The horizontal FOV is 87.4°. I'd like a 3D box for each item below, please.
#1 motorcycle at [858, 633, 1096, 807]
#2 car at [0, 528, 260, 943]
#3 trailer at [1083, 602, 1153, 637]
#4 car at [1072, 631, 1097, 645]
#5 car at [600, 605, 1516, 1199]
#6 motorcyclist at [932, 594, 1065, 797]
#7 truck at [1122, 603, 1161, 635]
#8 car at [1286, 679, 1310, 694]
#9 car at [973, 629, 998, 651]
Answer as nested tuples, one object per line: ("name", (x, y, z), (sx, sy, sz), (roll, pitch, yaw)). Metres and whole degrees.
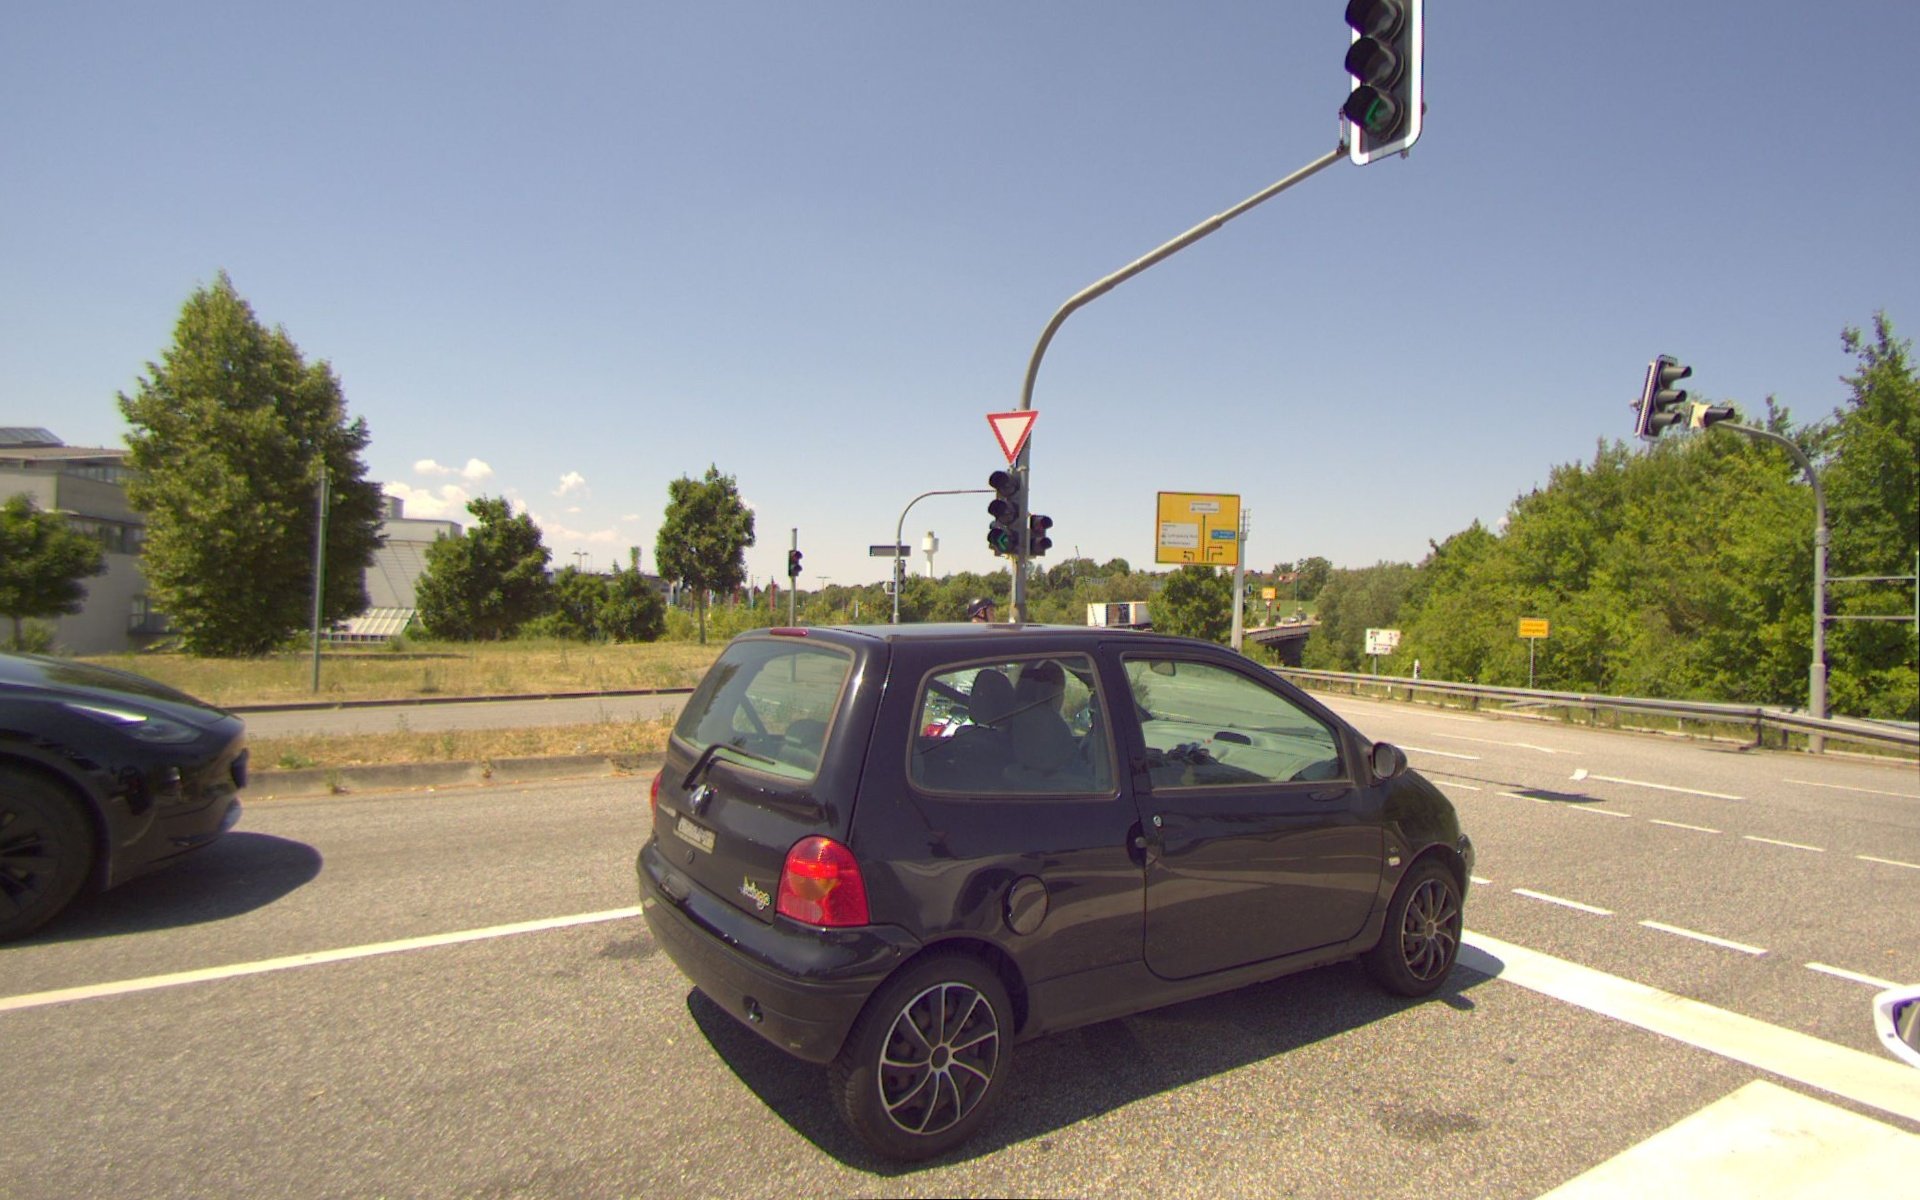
("motorcycle", (0.177, 0.939, 8.169), (1.921, 1.255, 0.572), (3, -1, -35))
("car", (-5.423, 0.479, 3.846), (4.462, 1.622, 1.862), (2, 0, -36))
("trailer", (21.149, 2.502, 133.101), (3.186, 4.305, 15.366), (2, 0, 33))
("car", (14.503, 4.437, 116.626), (1.777, 1.452, 3.927), (4, -2, 24))
("car", (0.500, 0.786, 3.901), (3.267, 1.426, 1.609), (2, -1, -34))
("motorcyclist", (0.315, 0.758, 8.271), (0.838, 1.560, 0.607), (3, -1, -34))
("truck", (25.225, 2.599, 139.550), (3.186, 4.305, 6.220), (2, 0, 33))
("car", (41.079, 10.477, 122.178), (1.775, 1.452, 4.417), (4, -2, 6))
("car", (1.784, 2.814, 71.193), (1.615, 1.413, 3.992), (5, -2, 1))
